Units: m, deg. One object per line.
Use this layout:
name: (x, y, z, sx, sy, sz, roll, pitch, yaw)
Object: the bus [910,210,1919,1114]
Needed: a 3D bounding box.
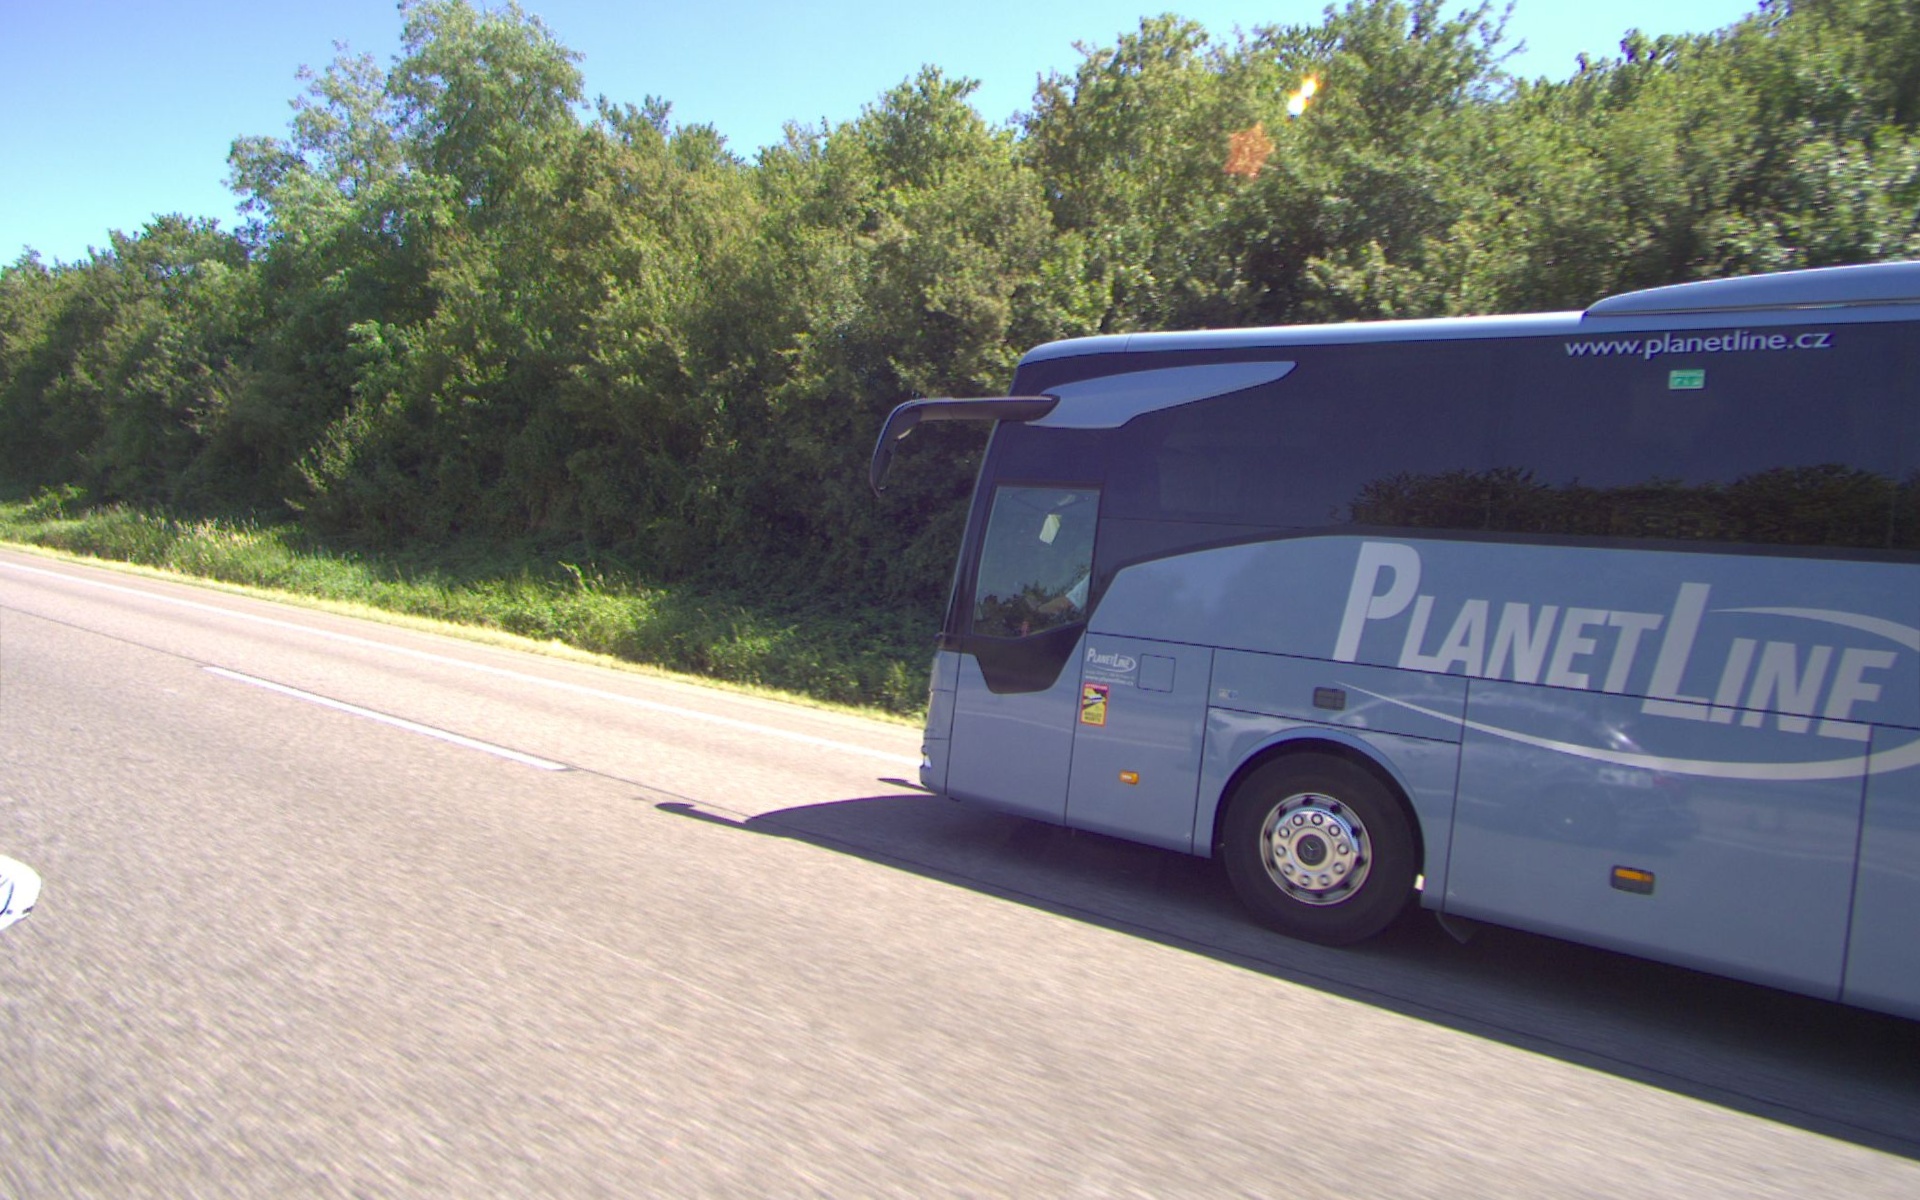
bus: (5.816, 0.468, 4.533, 12.265, 3.639, 2.807, 6, -1, 31)
